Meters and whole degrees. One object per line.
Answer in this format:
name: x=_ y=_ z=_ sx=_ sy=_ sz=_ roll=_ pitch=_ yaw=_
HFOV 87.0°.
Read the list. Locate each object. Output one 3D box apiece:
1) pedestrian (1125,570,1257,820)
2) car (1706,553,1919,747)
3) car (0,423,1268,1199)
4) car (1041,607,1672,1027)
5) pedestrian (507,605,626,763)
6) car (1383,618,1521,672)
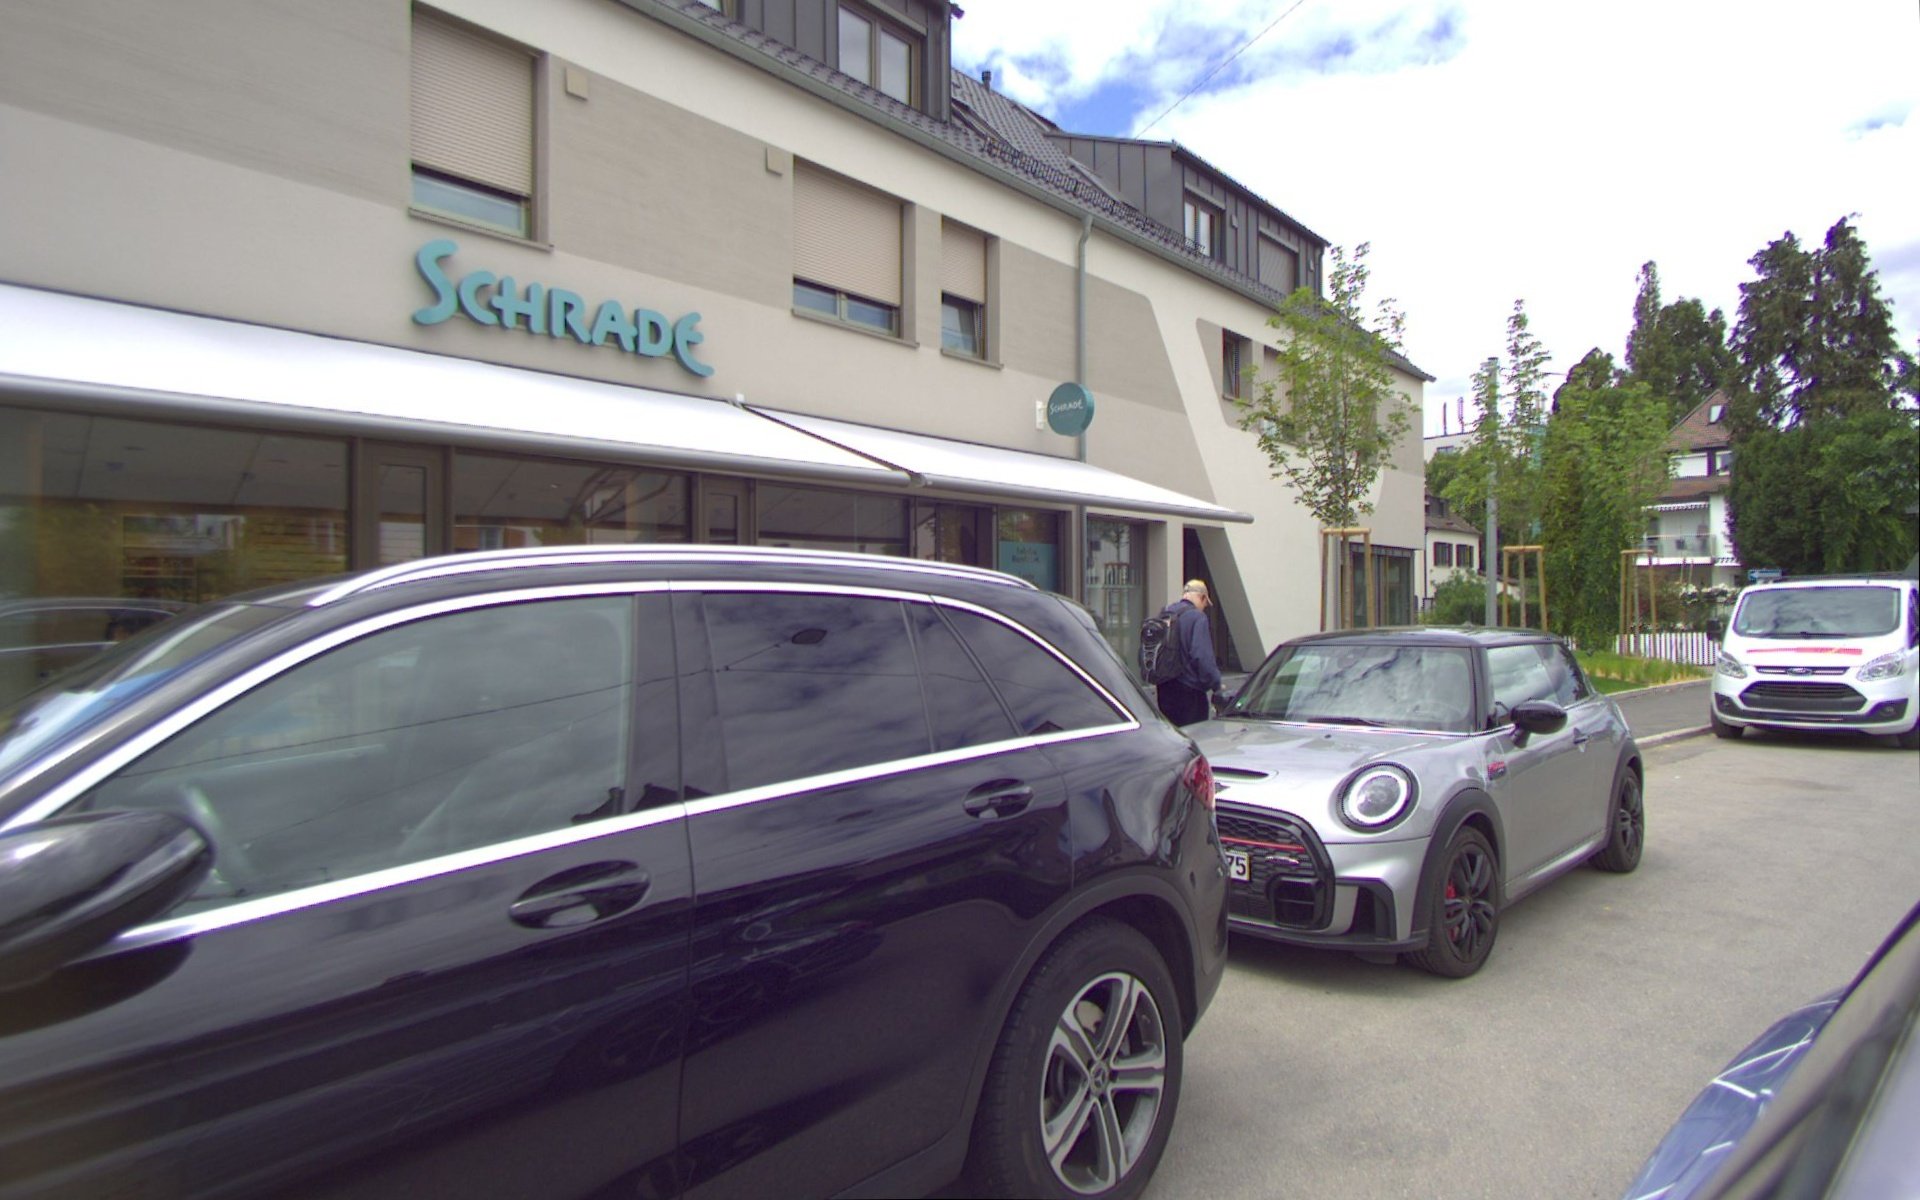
pedestrian: x=1.669 y=0.638 z=7.317 sx=0.648 sy=1.690 sz=0.677 roll=1 pitch=0 yaw=-41
car: x=11.629 y=0.568 z=13.155 sx=5.471 sy=2.040 sz=1.995 roll=0 pitch=-3 yaw=-42
car: x=-1.341 y=0.662 z=2.047 sx=4.392 sy=1.657 sz=1.848 roll=0 pitch=-2 yaw=-44
car: x=2.348 y=0.789 z=5.493 sx=3.770 sy=1.471 sz=1.708 roll=0 pitch=-2 yaw=-43
pedestrian: x=-3.326 y=0.672 z=8.548 sx=0.750 sy=1.254 sz=0.681 roll=-1 pitch=-1 yaw=43
car: x=16.918 y=1.562 z=34.876 sx=3.828 sy=1.617 sz=1.848 roll=-6 pitch=-4 yaw=42
